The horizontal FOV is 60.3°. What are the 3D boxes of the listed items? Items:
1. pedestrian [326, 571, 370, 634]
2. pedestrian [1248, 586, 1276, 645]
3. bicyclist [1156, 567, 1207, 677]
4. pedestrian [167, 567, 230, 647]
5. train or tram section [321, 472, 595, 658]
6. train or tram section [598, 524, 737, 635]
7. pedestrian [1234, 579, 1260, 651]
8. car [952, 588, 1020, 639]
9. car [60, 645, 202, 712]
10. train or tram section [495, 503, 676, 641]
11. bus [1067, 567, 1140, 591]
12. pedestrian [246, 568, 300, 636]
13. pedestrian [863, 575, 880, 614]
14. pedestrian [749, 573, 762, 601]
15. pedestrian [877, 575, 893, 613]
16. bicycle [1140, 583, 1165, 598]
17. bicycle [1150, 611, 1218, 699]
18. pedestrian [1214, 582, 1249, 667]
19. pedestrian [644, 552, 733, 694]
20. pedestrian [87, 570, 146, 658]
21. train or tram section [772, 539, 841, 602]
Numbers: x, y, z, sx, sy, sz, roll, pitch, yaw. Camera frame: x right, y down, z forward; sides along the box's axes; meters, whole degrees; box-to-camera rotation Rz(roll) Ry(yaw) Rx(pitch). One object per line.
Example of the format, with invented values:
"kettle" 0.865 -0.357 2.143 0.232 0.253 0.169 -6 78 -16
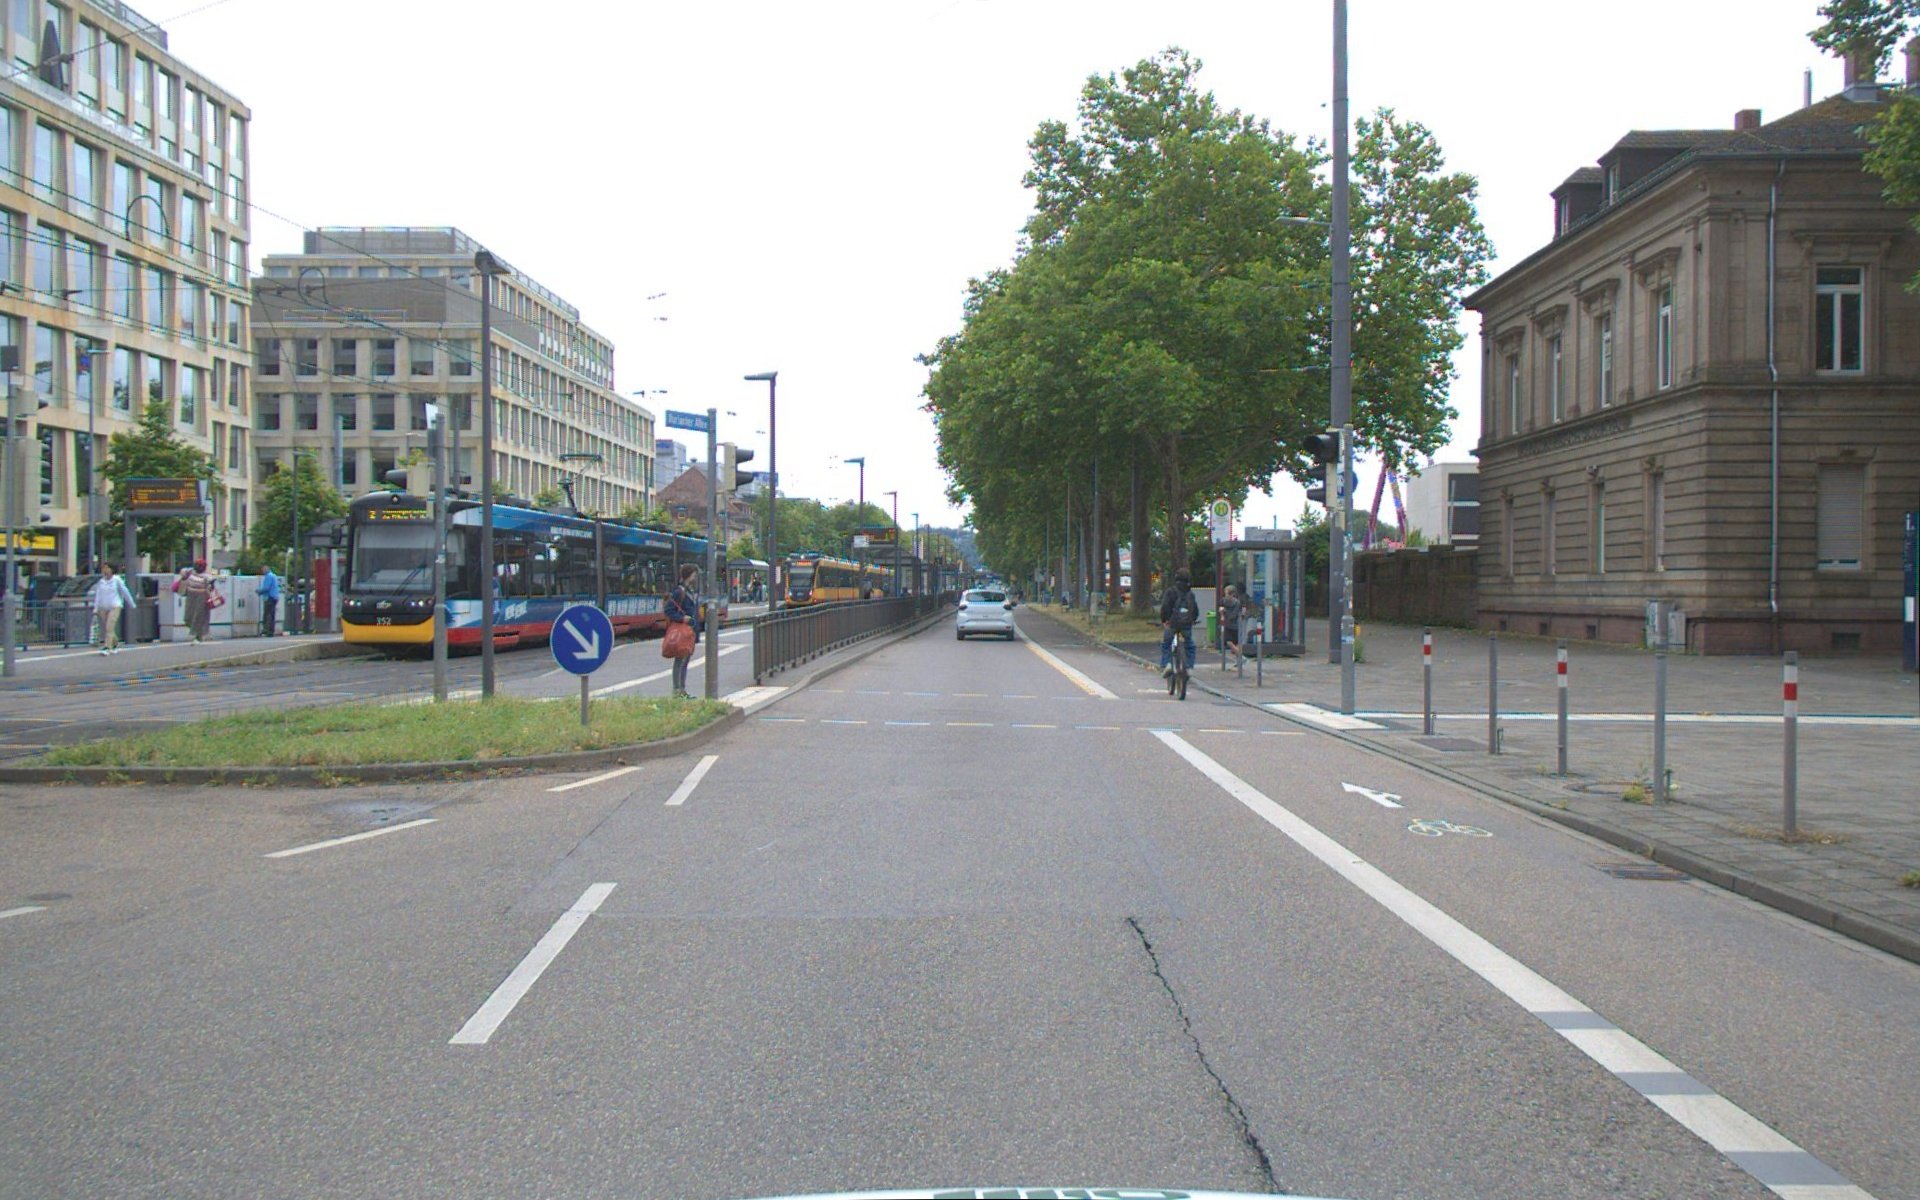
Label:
"pedestrian" -15.798 0.058 42.690 0.828 1.613 0.910 0 0 -3
"pedestrian" 6.542 0.338 35.814 0.466 1.255 0.702 0 0 1
"bicyclist" 3.180 0.309 23.751 0.628 1.557 0.664 0 0 -1
"pedestrian" -15.624 0.146 33.964 0.889 1.613 0.848 0 0 -1
"train or tram section" -11.380 -0.688 39.081 2.796 3.704 11.765 0 0 0
"train or tram section" -10.922 -0.693 63.361 2.796 3.756 13.521 0 0 0
"pedestrian" 6.430 0.337 37.059 0.466 1.590 0.702 0 0 1
"car" 0.835 0.395 50.433 1.846 1.478 4.002 0 0 4
"car" -20.974 1.950 41.996 1.703 1.474 3.769 0 1 0
"train or tram section" -11.158 -0.748 50.731 2.796 3.704 11.700 0 0 0
"bus" 18.200 -2.673 209.897 9.089 3.011 2.000 0 0 -1
"pedestrian" -16.526 0.059 39.792 0.827 1.613 0.911 -1 0 14
"pedestrian" -4.174 -0.254 78.085 0.658 1.825 1.110 0 0 -12
"pedestrian" -13.439 -0.862 108.594 0.697 1.827 1.160 0 0 0
"pedestrian" -3.565 -0.279 78.867 0.657 1.825 1.111 0 0 -7
"bicycle" 15.336 -0.761 131.659 1.851 1.124 0.550 -2 0 -1
"bicycle" 3.169 0.756 23.609 0.639 1.170 2.283 0 0 -1
"pedestrian" 5.030 0.457 30.597 0.540 1.555 0.638 -1 0 18
"pedestrian" -3.291 0.272 20.055 0.853 1.671 0.643 0 -1 -41
"pedestrian" -15.762 0.262 30.918 0.693 1.613 0.766 0 0 -1
"train or tram section" -10.058 -1.879 109.786 3.170 3.929 11.313 0 0 2
